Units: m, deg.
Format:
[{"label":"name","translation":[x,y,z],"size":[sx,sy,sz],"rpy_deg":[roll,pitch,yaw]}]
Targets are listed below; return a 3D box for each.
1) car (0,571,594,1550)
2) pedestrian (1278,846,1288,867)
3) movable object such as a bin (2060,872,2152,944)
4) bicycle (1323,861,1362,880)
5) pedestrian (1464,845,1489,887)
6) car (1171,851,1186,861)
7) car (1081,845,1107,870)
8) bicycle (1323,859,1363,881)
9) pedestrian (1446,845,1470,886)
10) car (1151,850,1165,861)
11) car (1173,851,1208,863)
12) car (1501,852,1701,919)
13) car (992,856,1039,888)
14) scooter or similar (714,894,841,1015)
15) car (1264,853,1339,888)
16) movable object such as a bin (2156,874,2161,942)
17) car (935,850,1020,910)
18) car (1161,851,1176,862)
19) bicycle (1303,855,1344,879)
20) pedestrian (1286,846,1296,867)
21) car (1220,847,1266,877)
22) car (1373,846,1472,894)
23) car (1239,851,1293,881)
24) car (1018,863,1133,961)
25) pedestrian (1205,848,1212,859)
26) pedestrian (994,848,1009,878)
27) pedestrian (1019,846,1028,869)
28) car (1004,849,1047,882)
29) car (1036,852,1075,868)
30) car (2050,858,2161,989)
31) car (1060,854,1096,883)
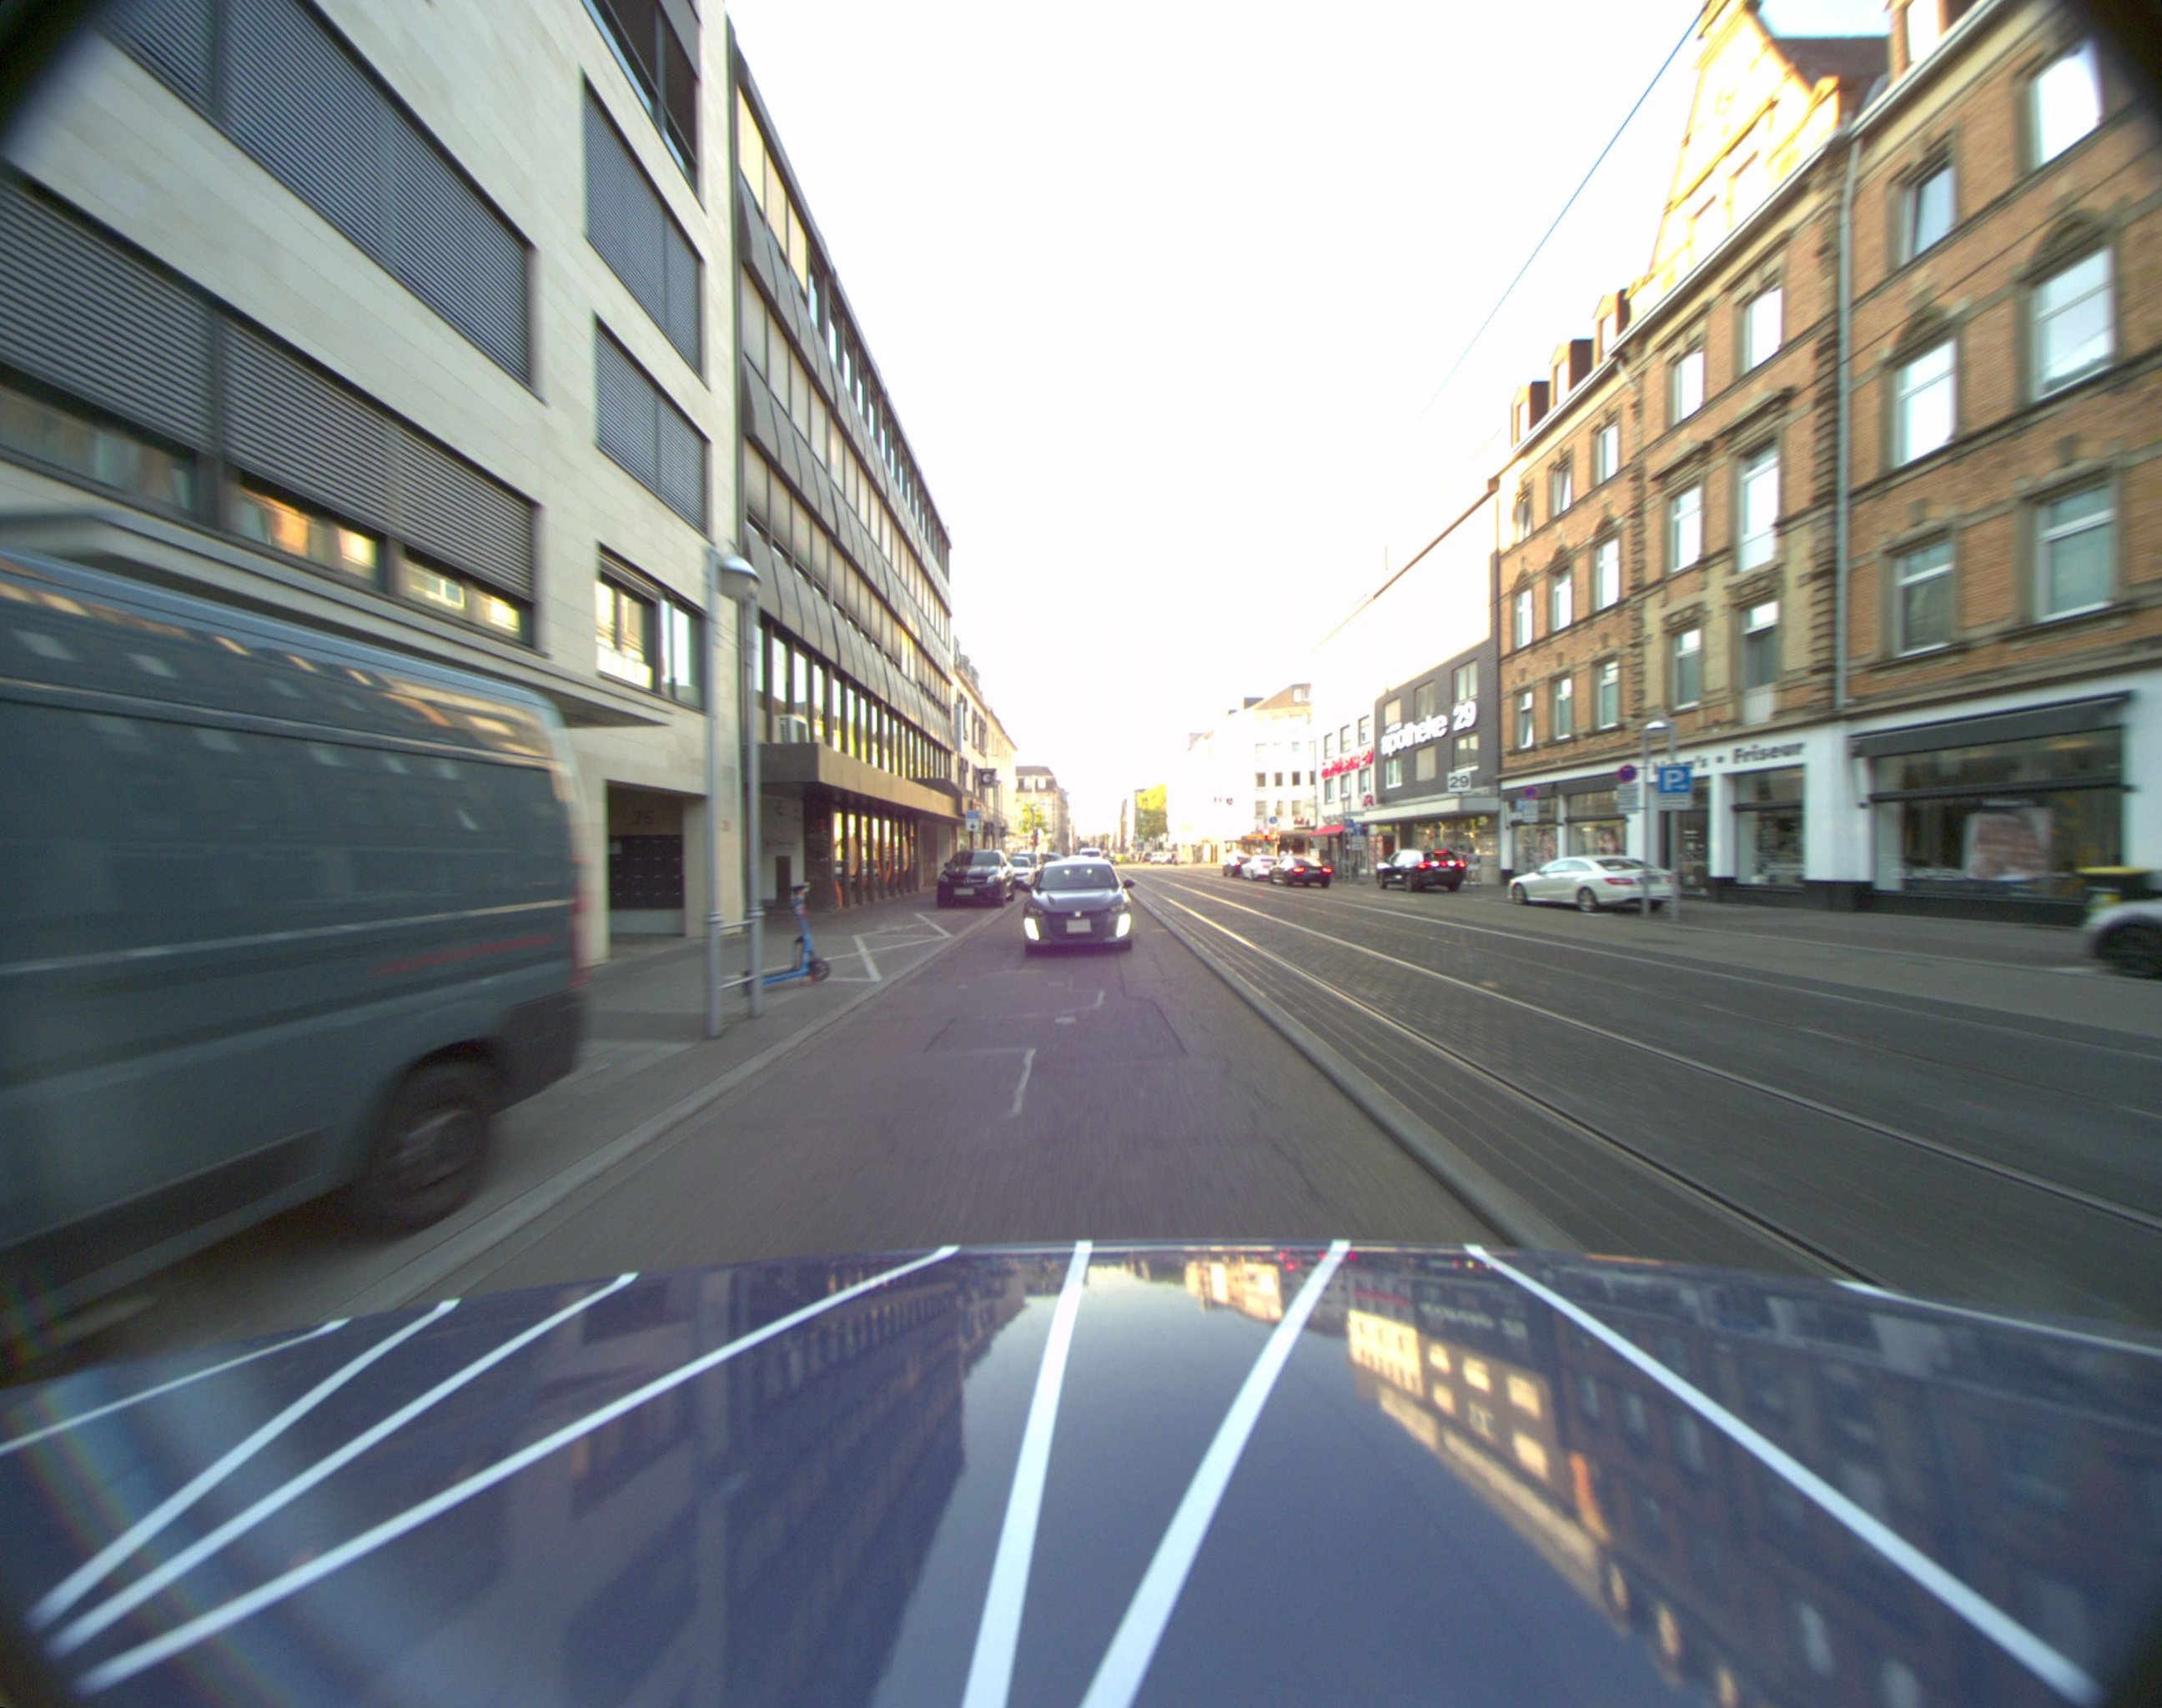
[{"label":"car","translation":[-3.743,0.514,1.156],"size":[2.098,2.441,6.031],"rpy_deg":[0,0,0]},{"label":"pedestrian","translation":[16.766,0.233,63.185],"size":[0.638,1.734,0.668],"rpy_deg":[-1,1,-1]},{"label":"movable object such as a bin","translation":[15.940,0.825,11.827],"size":[0.519,1.037,0.659],"rpy_deg":[-3,1,0]},{"label":"bicycle","translation":[13.722,0.878,39.882],"size":[1.809,0.907,0.456],"rpy_deg":[-3,-1,1]},{"label":"pedestrian","translation":[16.120,0.490,30.955],"size":[0.684,1.651,0.624],"rpy_deg":[-1,0,0]},{"label":"car","translation":[13.159,0.290,102.819],"size":[1.636,1.246,3.389],"rpy_deg":[-3,0,1]},{"label":"car","translation":[0.997,0.241,57.443],"size":[1.827,1.787,4.285],"rpy_deg":[-1,0,3]},{"label":"bicycle","translation":[13.529,0.839,39.208],"size":[1.835,1.041,0.489],"rpy_deg":[-3,-1,1]},{"label":"pedestrian","translation":[15.434,0.468,31.118],"size":[0.622,1.689,0.602],"rpy_deg":[-1,0,0]},{"label":"car","translation":[9.951,0.170,97.518],"size":[1.717,1.463,3.987],"rpy_deg":[1,0,7]},{"label":"car","translation":[11.996,0.333,83.595],"size":[3.490,1.326,1.597],"rpy_deg":[0,1,-8]},{"label":"car","translation":[13.319,0.715,19.889],"size":[1.874,1.444,4.608],"rpy_deg":[-3,1,-3]},{"label":"car","translation":[-3.069,0.816,36.277],"size":[1.800,1.424,3.887],"rpy_deg":[0,0,1]},{"label":"scooter or similar","translation":[-3.462,1.103,8.744],"size":[0.498,1.213,1.267],"rpy_deg":[0,1,38]},{"label":"car","translation":[9.942,0.690,34.653],"size":[1.999,1.444,4.648],"rpy_deg":[0,0,0]},{"label":"movable object such as a bin","translation":[16.429,0.803,11.088],"size":[0.496,1.027,0.694],"rpy_deg":[-3,1,0]},{"label":"car","translation":[-3.123,0.721,23.869],"size":[1.998,1.717,4.565],"rpy_deg":[0,0,1]},{"label":"car","translation":[12.375,0.361,107.521],"size":[1.636,1.345,3.389],"rpy_deg":[-3,0,1]},{"label":"bicycle","translation":[13.865,0.752,43.392],"size":[2.117,1.217,0.553],"rpy_deg":[-3,2,1]},{"label":"pedestrian","translation":[17.477,0.221,63.289],"size":[0.638,1.768,0.600],"rpy_deg":[-1,1,-3]},{"label":"car","translation":[10.166,0.464,47.931],"size":[1.998,1.717,4.727],"rpy_deg":[1,1,2]},{"label":"car","translation":[13.211,0.559,29.704],"size":[1.935,1.665,4.647],"rpy_deg":[-2,0,3]},{"label":"car","translation":[10.116,0.611,41.818],"size":[1.998,1.444,4.656],"rpy_deg":[1,1,3]},{"label":"car","translation":[-0.141,0.935,13.997],"size":[1.751,1.434,3.905],"rpy_deg":[-3,0,-2]},{"label":"pedestrian","translation":[17.083,-0.068,101.913],"size":[0.544,1.463,0.624],"rpy_deg":[-4,0,-15]},{"label":"pedestrian","translation":[-4.742,0.523,45.370],"size":[0.768,1.795,0.928],"rpy_deg":[1,1,2]},{"label":"pedestrian","translation":[-4.881,0.292,64.490],"size":[0.663,1.917,0.879],"rpy_deg":[0,1,-1]},{"label":"car","translation":[-3.036,0.594,42.370],"size":[1.998,1.717,4.576],"rpy_deg":[1,1,1]},{"label":"car","translation":[-2.477,0.589,72.994],"size":[1.686,1.463,3.736],"rpy_deg":[-1,1,-44]},{"label":"car","translation":[13.046,0.795,7.699],"size":[1.602,1.431,3.812],"rpy_deg":[-2,0,1]},{"label":"car","translation":[-0.109,0.756,42.095],"size":[1.827,1.463,3.985],"rpy_deg":[-1,0,2]}]
